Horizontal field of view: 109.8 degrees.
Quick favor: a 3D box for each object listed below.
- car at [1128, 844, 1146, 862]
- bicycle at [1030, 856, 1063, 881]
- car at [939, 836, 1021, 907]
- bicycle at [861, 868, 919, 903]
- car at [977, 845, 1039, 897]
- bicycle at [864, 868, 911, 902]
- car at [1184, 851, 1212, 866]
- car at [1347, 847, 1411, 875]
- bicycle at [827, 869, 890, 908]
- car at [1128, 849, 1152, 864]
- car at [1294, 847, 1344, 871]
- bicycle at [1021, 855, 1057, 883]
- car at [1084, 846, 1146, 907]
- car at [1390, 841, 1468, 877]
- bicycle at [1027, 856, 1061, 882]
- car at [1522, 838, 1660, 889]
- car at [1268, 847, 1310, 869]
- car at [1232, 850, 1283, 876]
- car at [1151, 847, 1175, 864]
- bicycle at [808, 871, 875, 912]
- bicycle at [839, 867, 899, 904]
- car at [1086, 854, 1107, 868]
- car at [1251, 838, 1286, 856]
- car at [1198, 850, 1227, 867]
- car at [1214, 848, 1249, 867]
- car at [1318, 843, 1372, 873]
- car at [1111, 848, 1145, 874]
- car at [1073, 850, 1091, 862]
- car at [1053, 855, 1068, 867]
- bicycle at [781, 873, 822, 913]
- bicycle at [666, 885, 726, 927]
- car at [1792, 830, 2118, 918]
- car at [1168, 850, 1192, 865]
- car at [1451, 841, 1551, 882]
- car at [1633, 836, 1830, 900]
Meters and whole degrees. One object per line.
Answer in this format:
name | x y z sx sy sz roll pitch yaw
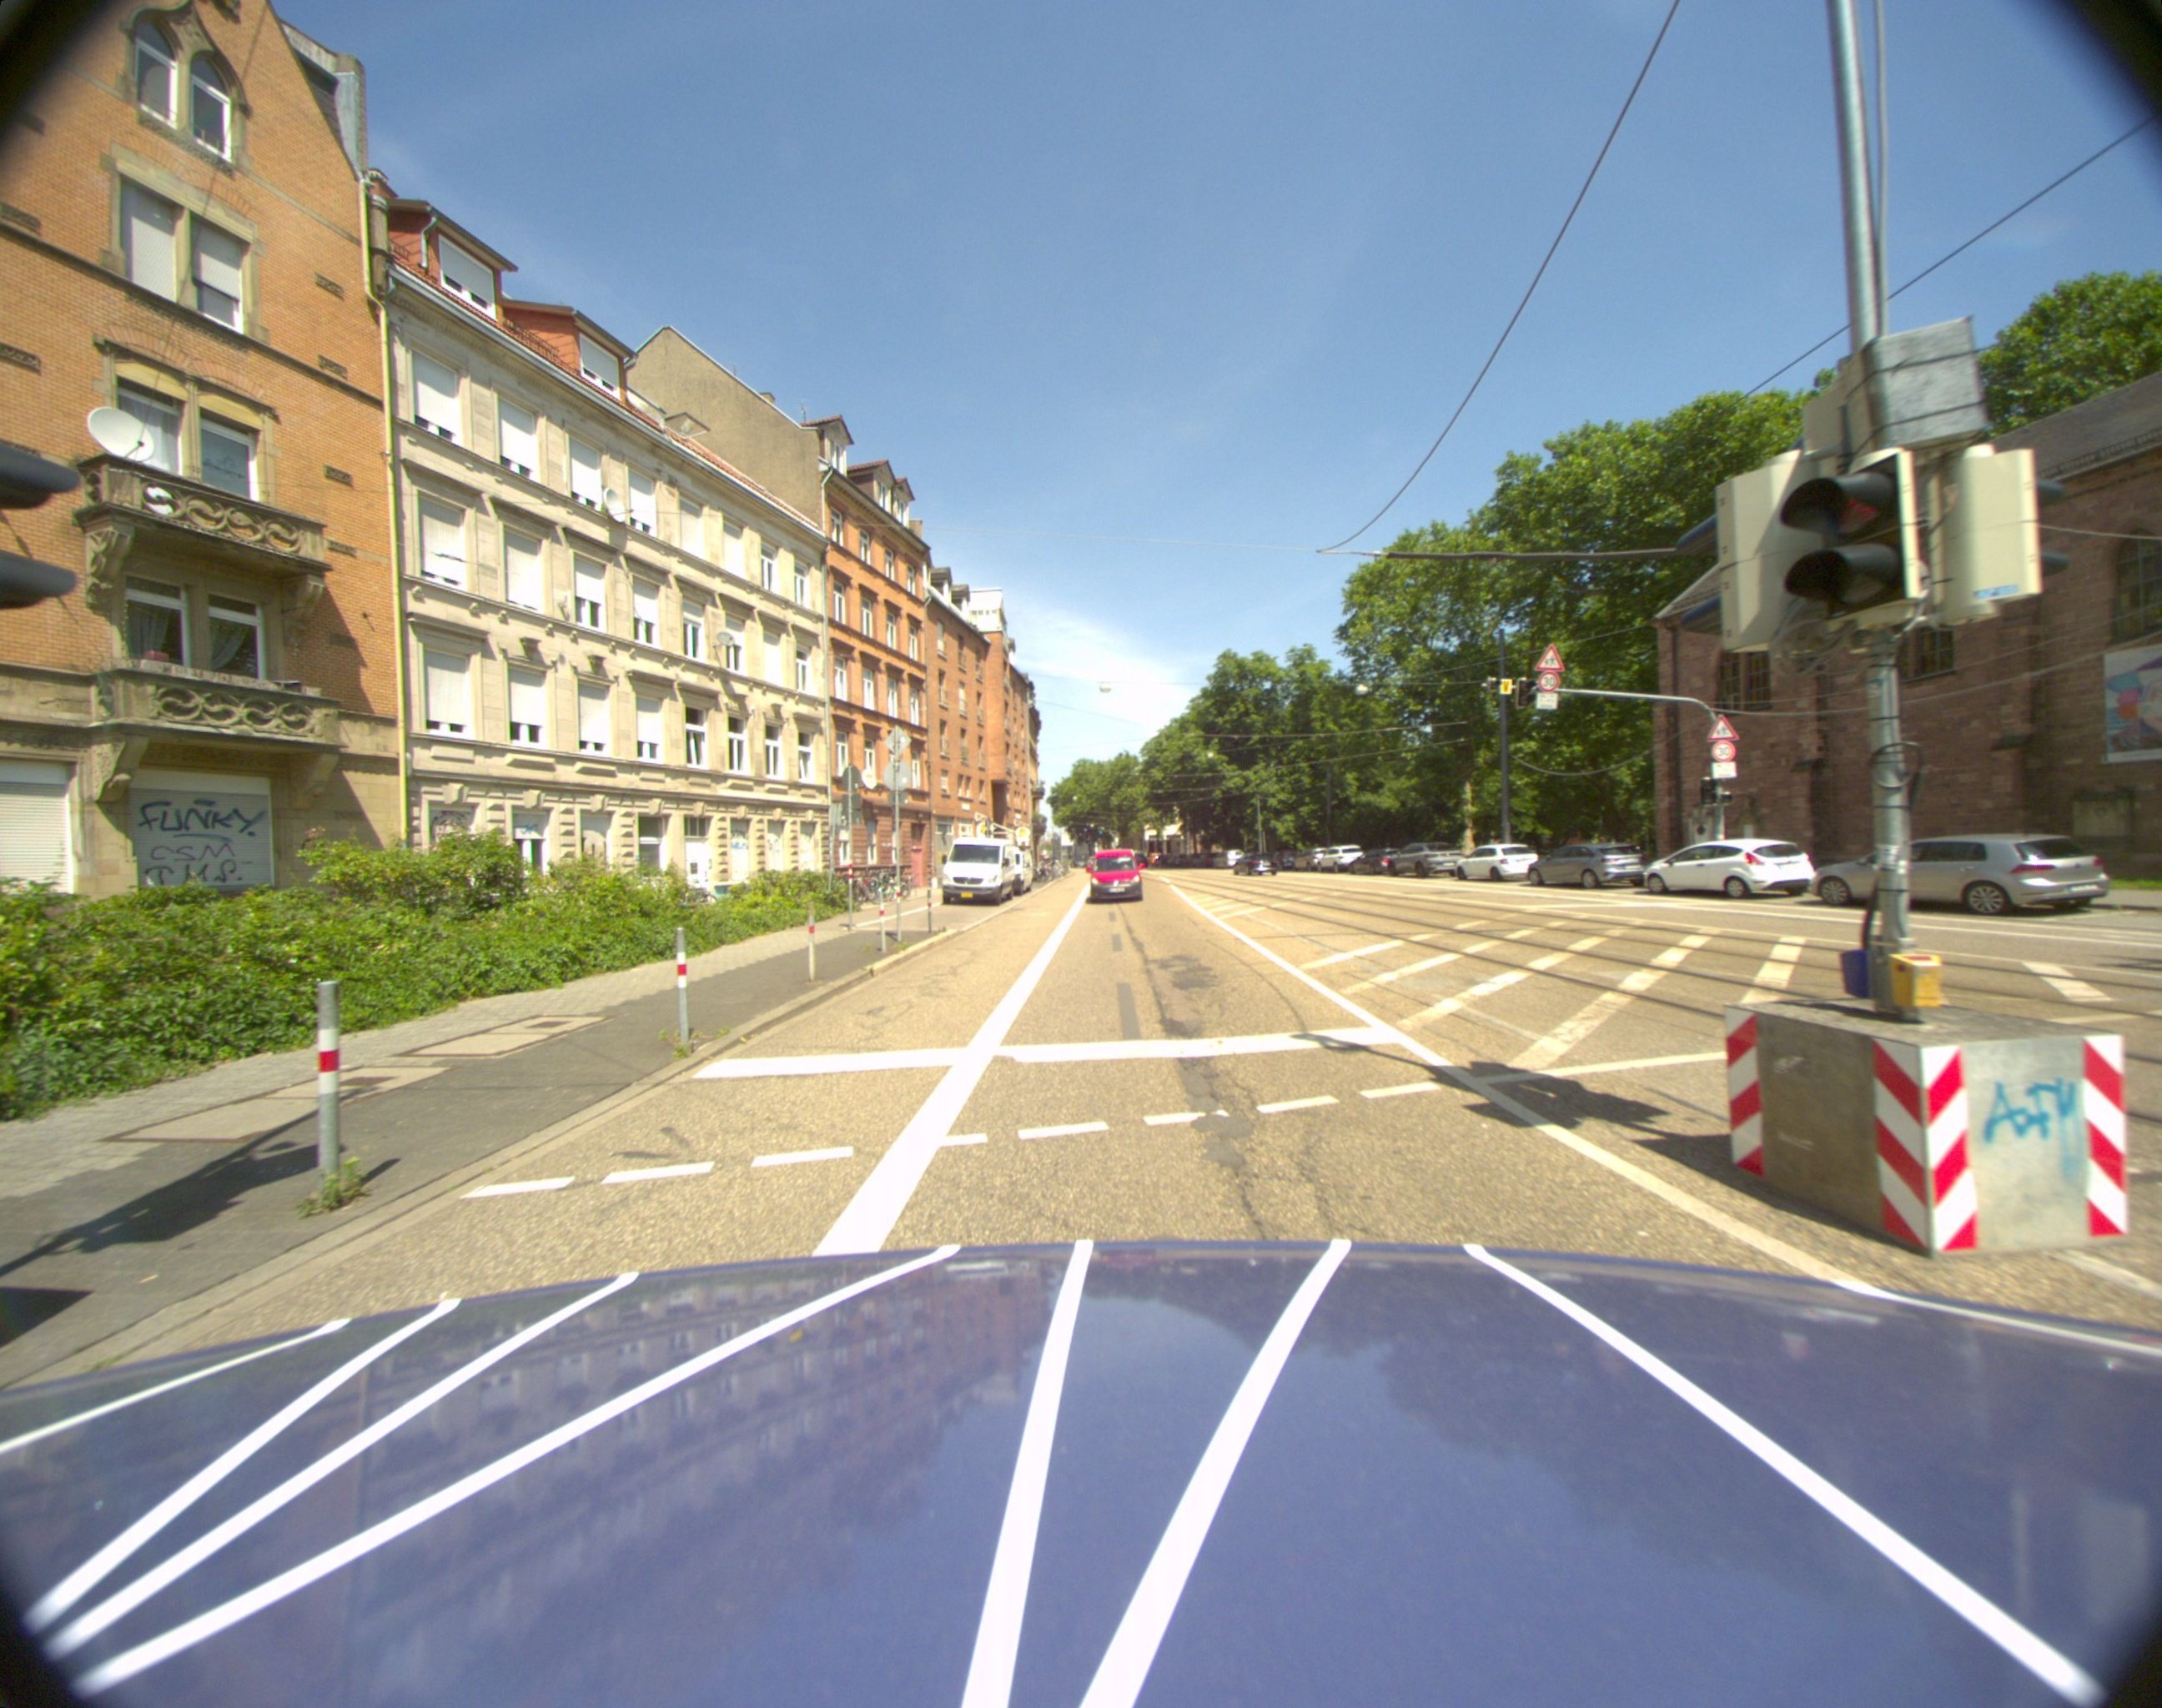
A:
car | 7.804 -0.175 105.542 1.822 2.284 3.760 -3 1 -5
bicycle | -2.184 0.914 48.338 1.937 1.498 0.665 -3 1 14
car | -3.546 0.539 27.723 1.998 2.317 5.407 1 1 3
bicycle | -7.012 1.153 27.910 1.919 1.174 0.493 -3 1 3
car | -3.173 0.667 34.134 1.998 2.123 5.272 1 1 3
bicycle | -7.484 1.184 29.480 0.491 1.174 1.924 -2 1 32
car | 12.217 0.461 79.827 1.810 1.455 3.997 -3 1 -7
car | 16.043 0.337 41.135 1.672 1.368 3.998 -3 1 -3
bicycle | -7.408 1.159 25.333 1.919 1.174 0.493 -3 1 3
car | 6.518 0.241 84.587 1.978 1.455 3.998 -3 1 -4
car | 15.869 0.312 50.909 1.748 1.489 4.186 -3 1 -3
bicycle | -2.498 0.892 45.048 1.937 1.498 0.665 -3 1 14
car | 1.163 0.694 26.778 1.859 1.824 5.166 -3 1 2
car | 16.323 0.227 35.860 1.748 1.515 3.752 -3 1 -3
bicycle | -2.294 0.934 46.953 1.937 1.498 0.665 -3 1 14
car | 16.816 0.271 25.318 1.663 1.451 4.057 -3 1 -3
car | 15.630 0.290 57.246 1.748 1.489 4.186 -3 1 -3
car | 10.763 0.522 46.582 1.751 1.387 4.344 -3 1 -5
car | 10.039 0.171 92.779 1.999 2.002 3.997 -3 1 -6
bicycle | -7.671 1.197 24.324 1.919 1.174 0.493 -3 1 3
bicycle | -7.438 1.111 26.662 1.919 1.174 0.493 -3 1 3
car | 1.744 0.809 85.986 1.810 1.455 3.997 -3 1 -7
car | 15.499 -0.557 62.949 1.650 1.372 3.764 -3 1 -3
car | 12.839 0.432 74.248 1.809 1.455 3.998 -3 1 -4
car | 13.694 0.292 69.235 1.978 1.554 3.998 -3 1 -5
car | 15.982 0.200 46.209 1.747 1.643 3.904 -3 1 -1
car | 3.709 0.501 61.110 2.166 1.927 4.852 -3 1 -3
car | 0.055 0.282 100.757 1.810 1.455 3.997 -3 1 -7
car | -3.213 1.115 119.827 1.999 1.641 3.997 -3 1 -6
bicycle | -9.269 1.262 25.268 0.492 1.174 1.921 -3 1 2
bicycle | -10.631 1.418 21.051 0.456 1.016 1.770 -3 1 9
car | 17.308 0.332 15.428 1.663 1.450 4.219 -3 1 -2
car | 11.113 0.385 85.865 1.747 1.506 3.815 -3 1 -7
car | 16.858 0.269 30.705 1.748 1.451 3.752 -3 1 -3
car | 17.113 0.325 20.282 1.663 1.451 4.057 -3 1 -2
